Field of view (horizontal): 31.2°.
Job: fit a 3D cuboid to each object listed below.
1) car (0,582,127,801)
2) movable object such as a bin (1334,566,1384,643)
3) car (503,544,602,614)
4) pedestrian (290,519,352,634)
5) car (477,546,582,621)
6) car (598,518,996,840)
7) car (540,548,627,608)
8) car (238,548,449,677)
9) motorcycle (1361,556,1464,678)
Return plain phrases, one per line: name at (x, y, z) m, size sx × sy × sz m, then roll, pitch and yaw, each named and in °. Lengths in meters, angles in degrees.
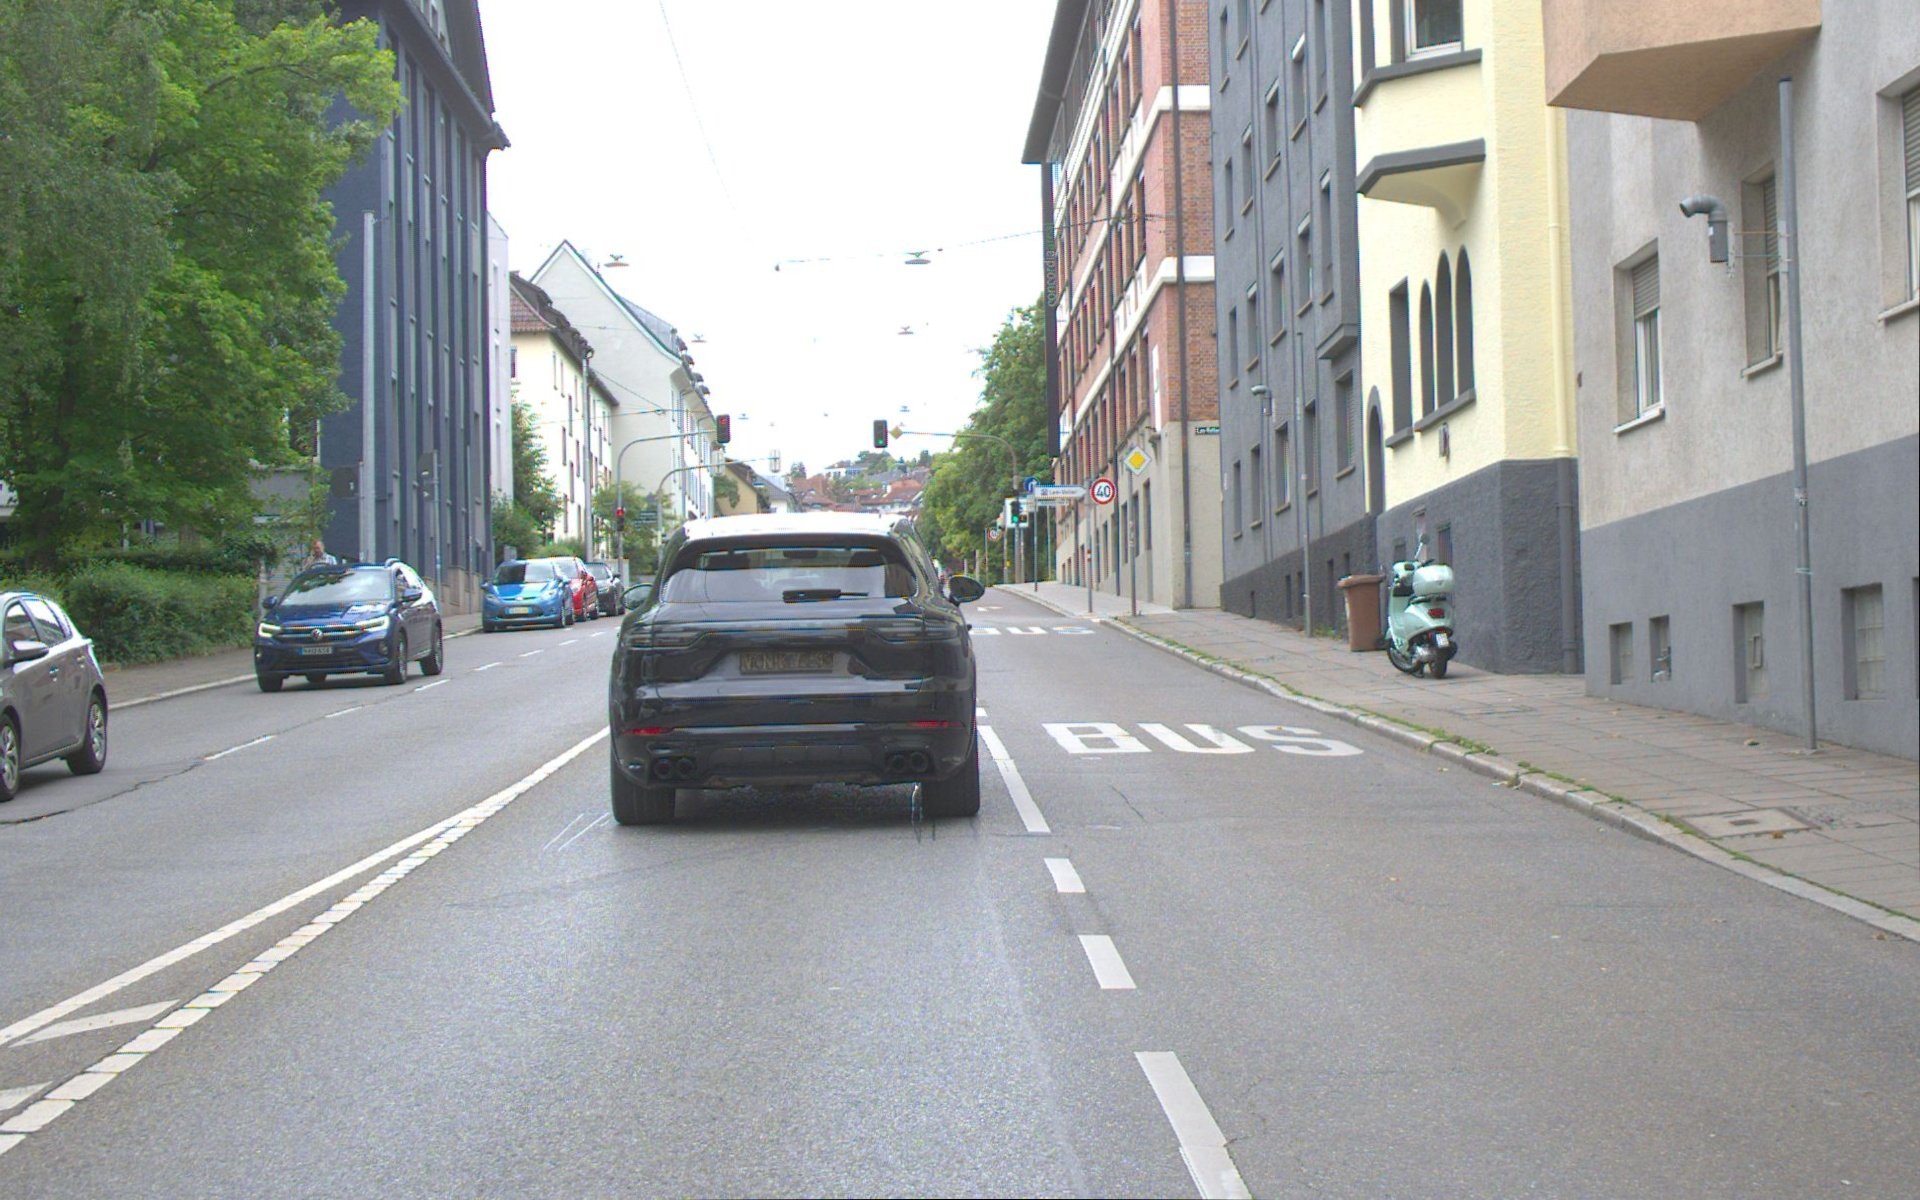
car at (-7.472, 0.659, 24.850) m, size 1.839 × 1.443 × 4.311 m, roll -3°, pitch 1°, yaw -1°
movable object such as a bin at (4.838, 0.054, 41.665) m, size 0.474 × 0.889 × 0.517 m, roll -4°, pitch 1°, yaw -2°
car at (-9.300, -0.506, 78.713) m, size 1.714 × 1.451 × 3.989 m, roll -3°, pitch 1°, yaw 0°
pedestrian at (-10.939, -0.411, 58.865) m, size 0.882 × 1.943 × 0.868 m, roll 1°, pitch 1°, yaw -1°
car at (-9.098, -0.371, 72.911) m, size 1.714 × 1.419 × 3.990 m, roll -3°, pitch 1°, yaw -1°
car at (-1.018, 0.378, 19.746) m, size 2.023 × 1.636 × 4.357 m, roll 0°, pitch 1°, yaw -5°
car at (-9.227, -0.561, 84.466) m, size 1.714 × 1.336 × 3.904 m, roll -3°, pitch 1°, yaw -1°
car at (-7.627, 0.115, 42.884) m, size 1.839 × 1.443 × 4.311 m, roll -3°, pitch 1°, yaw -1°
motorcycle at (4.573, 0.151, 34.885) m, size 0.537 × 1.152 × 2.227 m, roll -4°, pitch 1°, yaw -4°
